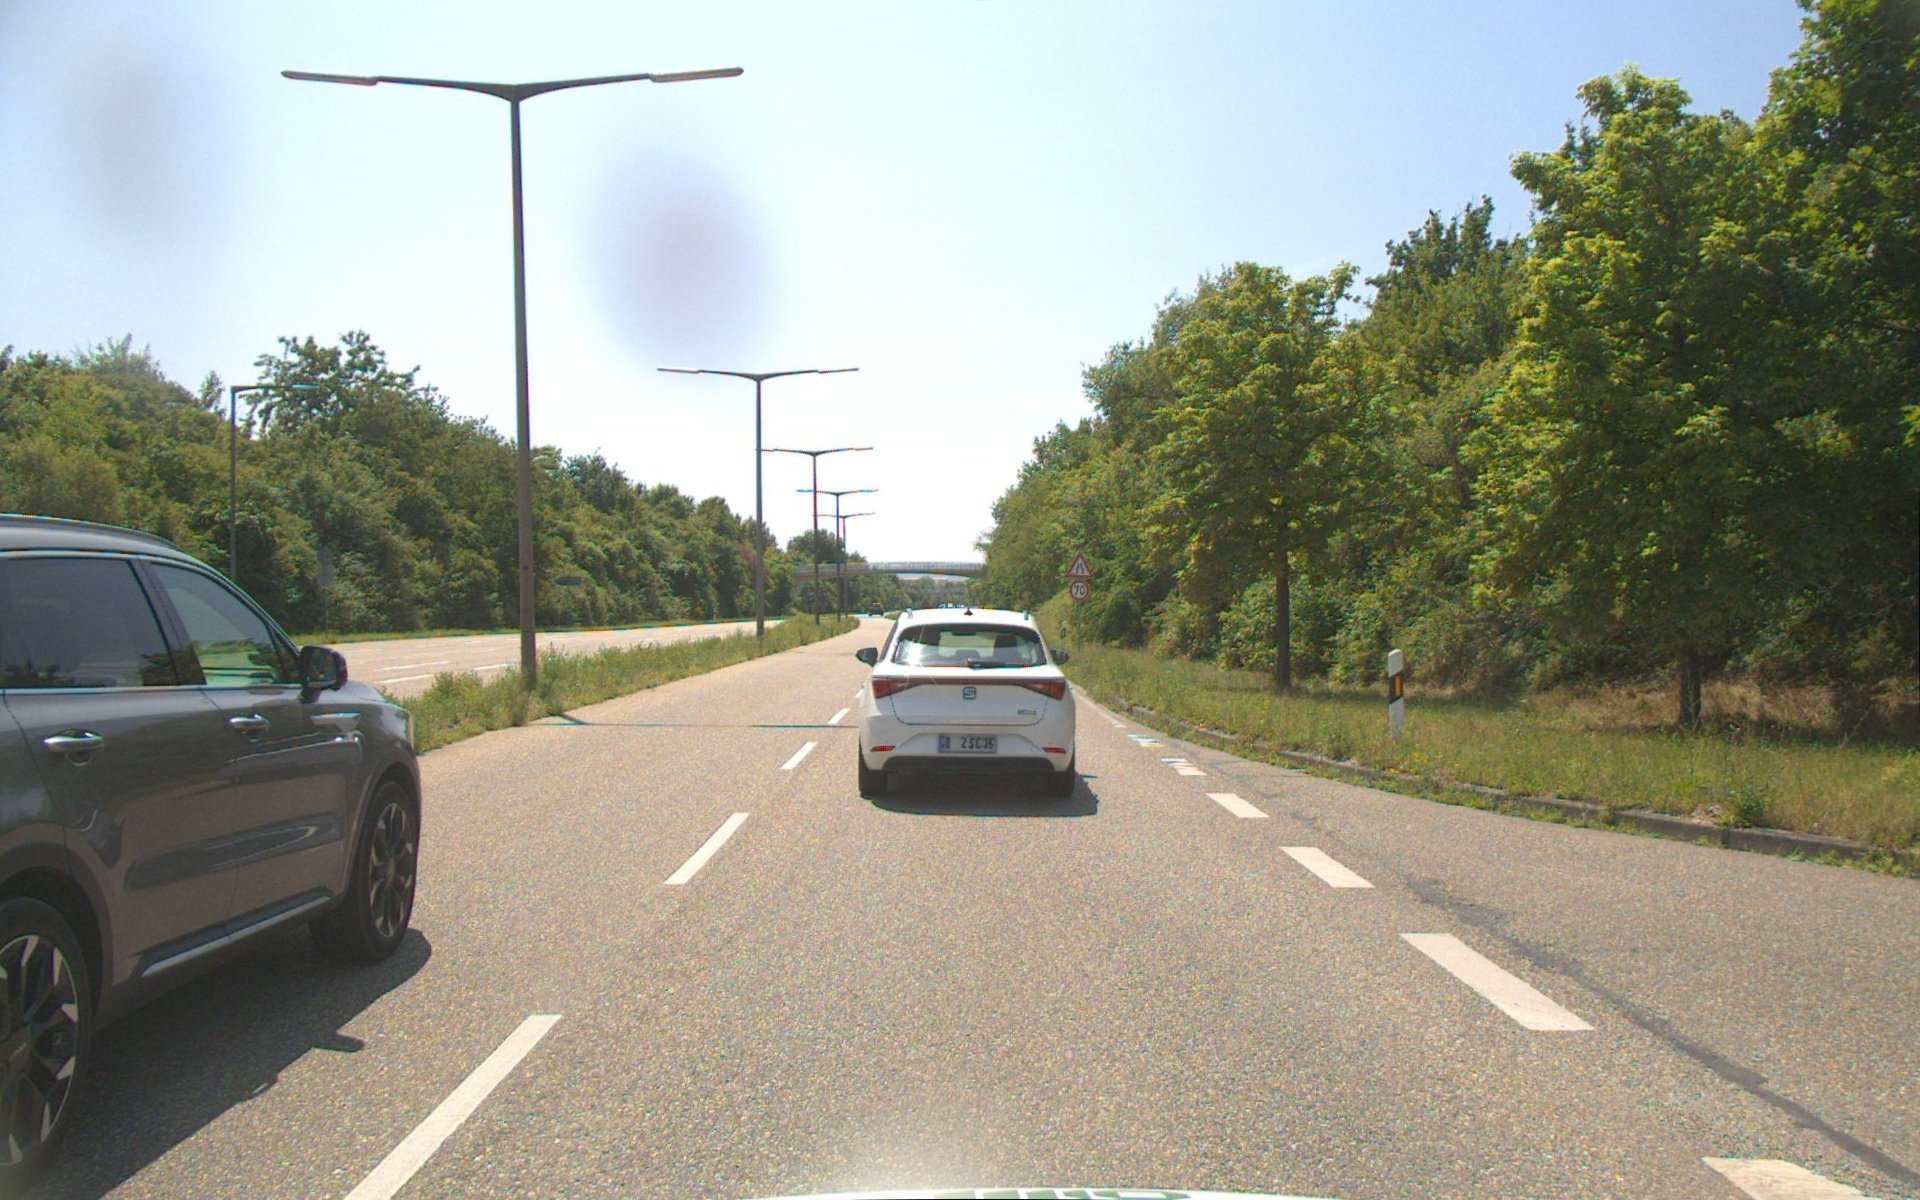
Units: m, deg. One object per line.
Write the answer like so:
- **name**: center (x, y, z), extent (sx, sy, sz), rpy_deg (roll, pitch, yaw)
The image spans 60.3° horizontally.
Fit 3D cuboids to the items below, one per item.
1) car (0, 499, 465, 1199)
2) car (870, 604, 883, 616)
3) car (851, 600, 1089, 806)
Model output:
- **car**: center (-3.139, 0.618, 5.194), extent (1.767, 1.691, 4.644), rpy_deg (0, 0, 0)
- **car**: center (-12.035, 1.409, 239.293), extent (1.818, 1.739, 3.997), rpy_deg (1, 0, -3)
- **car**: center (0.075, 0.773, 13.848), extent (1.699, 1.453, 3.694), rpy_deg (1, -1, 0)
